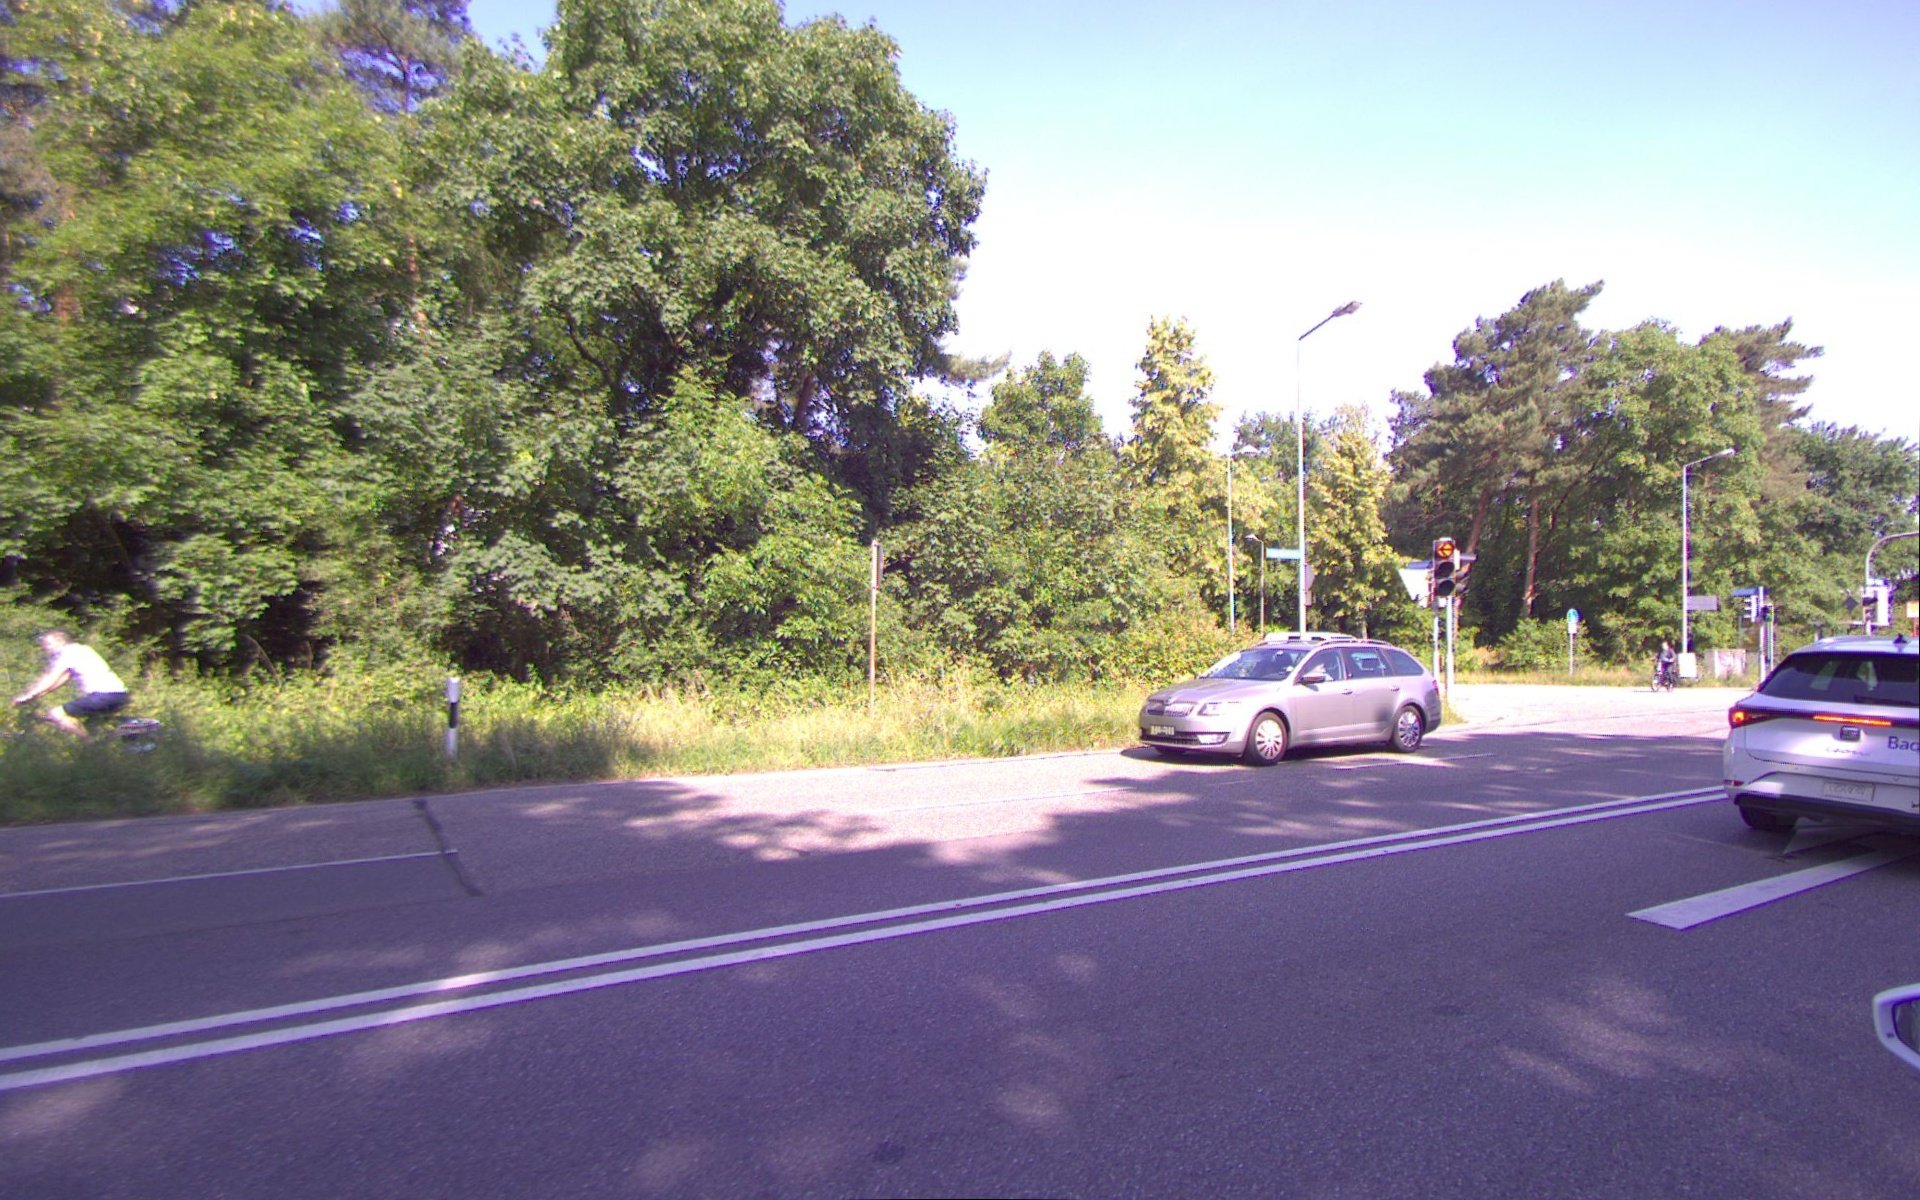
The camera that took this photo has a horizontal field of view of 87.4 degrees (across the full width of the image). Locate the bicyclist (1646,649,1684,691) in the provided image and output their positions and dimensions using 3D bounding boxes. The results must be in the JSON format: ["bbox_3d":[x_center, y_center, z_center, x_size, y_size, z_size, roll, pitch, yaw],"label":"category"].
[{"bbox_3d":[23.081,2.286,32.885,0.874,1.328,0.717,1,-2,-33],"label":"bicyclist"}]

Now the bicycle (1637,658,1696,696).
[{"bbox_3d":[23.185,2.505,32.942,2.347,1.178,0.728,1,-2,-33],"label":"bicycle"}]

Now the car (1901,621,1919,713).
[{"bbox_3d":[20.131,1.299,19.344,4.341,1.719,1.783,2,-3,-31],"label":"car"}]

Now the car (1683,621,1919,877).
[{"bbox_3d":[7.270,0.918,7.209,4.371,1.443,1.775,1,0,-31],"label":"car"}]

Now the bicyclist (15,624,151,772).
[{"bbox_3d":[-9.255,1.011,10.642,0.933,1.486,0.608,2,0,-29],"label":"bicyclist"}]

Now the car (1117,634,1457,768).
[{"bbox_3d":[4.262,1.180,12.886,4.411,1.452,1.694,1,-3,-32],"label":"car"}]

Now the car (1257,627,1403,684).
[{"bbox_3d":[12.561,1.898,34.420,1.830,1.801,4.626,2,-3,-30],"label":"car"}]

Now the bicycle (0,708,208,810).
[{"bbox_3d":[-9.350,1.667,10.651,2.113,0.926,0.601,1,-2,-29],"label":"bicycle"}]
